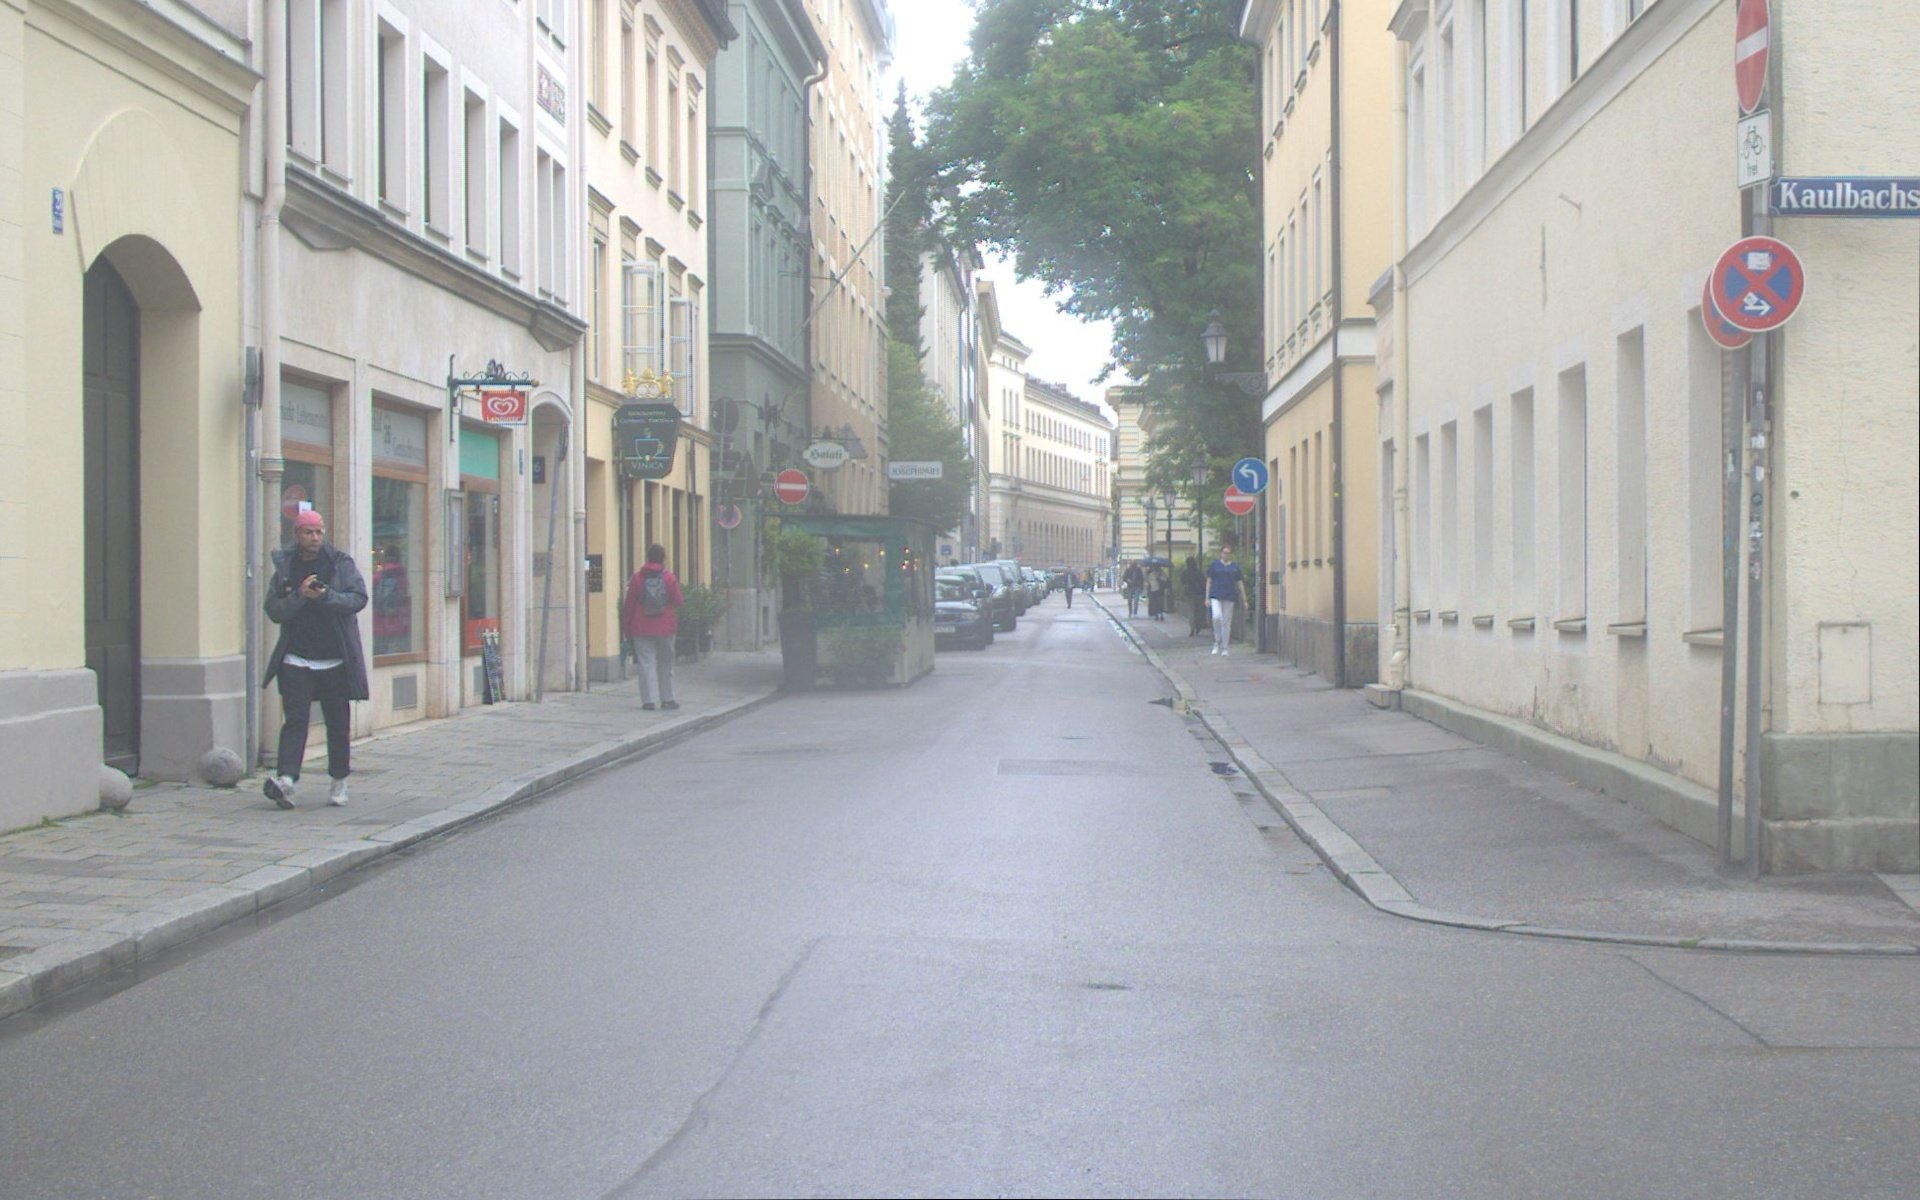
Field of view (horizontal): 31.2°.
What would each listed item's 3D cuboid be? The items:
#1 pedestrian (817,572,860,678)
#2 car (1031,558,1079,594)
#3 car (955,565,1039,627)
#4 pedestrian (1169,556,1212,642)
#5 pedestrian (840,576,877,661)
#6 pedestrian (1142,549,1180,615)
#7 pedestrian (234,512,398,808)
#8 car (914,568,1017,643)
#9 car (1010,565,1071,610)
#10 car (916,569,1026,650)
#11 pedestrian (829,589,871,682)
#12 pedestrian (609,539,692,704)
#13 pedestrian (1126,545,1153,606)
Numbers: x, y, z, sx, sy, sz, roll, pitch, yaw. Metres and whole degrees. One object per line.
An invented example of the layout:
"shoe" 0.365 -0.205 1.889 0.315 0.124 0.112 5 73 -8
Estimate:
"pedestrian" -1.536 0.316 43.477 0.509 1.322 0.631 1 0 1
"car" 3.958 -1.010 142.468 1.780 1.461 3.541 1 1 5
"car" 0.937 -0.116 84.546 1.780 1.461 3.541 1 1 5
"pedestrian" 4.868 -0.029 72.747 0.880 1.796 1.046 1 0 3
"pedestrian" -1.496 0.272 50.896 0.509 1.233 0.631 1 0 1
"pedestrian" 5.540 -0.495 94.823 1.016 1.796 1.349 1 0 3
"pedestrian" -3.907 0.345 20.905 0.809 1.749 0.990 0 2 0
"car" 0.134 0.093 69.612 1.780 1.461 3.541 1 1 5
"car" 2.691 -0.423 114.222 1.780 1.461 3.541 1 1 5
"car" 0.233 0.161 65.136 1.780 1.461 3.662 1 1 5
"pedestrian" -1.424 0.454 44.452 0.509 1.183 0.631 1 0 1
"pedestrian" -3.225 0.218 35.864 0.766 1.702 0.785 -1 0 0
"pedestrian" 5.309 -0.732 101.783 0.793 1.796 0.903 1 0 3
